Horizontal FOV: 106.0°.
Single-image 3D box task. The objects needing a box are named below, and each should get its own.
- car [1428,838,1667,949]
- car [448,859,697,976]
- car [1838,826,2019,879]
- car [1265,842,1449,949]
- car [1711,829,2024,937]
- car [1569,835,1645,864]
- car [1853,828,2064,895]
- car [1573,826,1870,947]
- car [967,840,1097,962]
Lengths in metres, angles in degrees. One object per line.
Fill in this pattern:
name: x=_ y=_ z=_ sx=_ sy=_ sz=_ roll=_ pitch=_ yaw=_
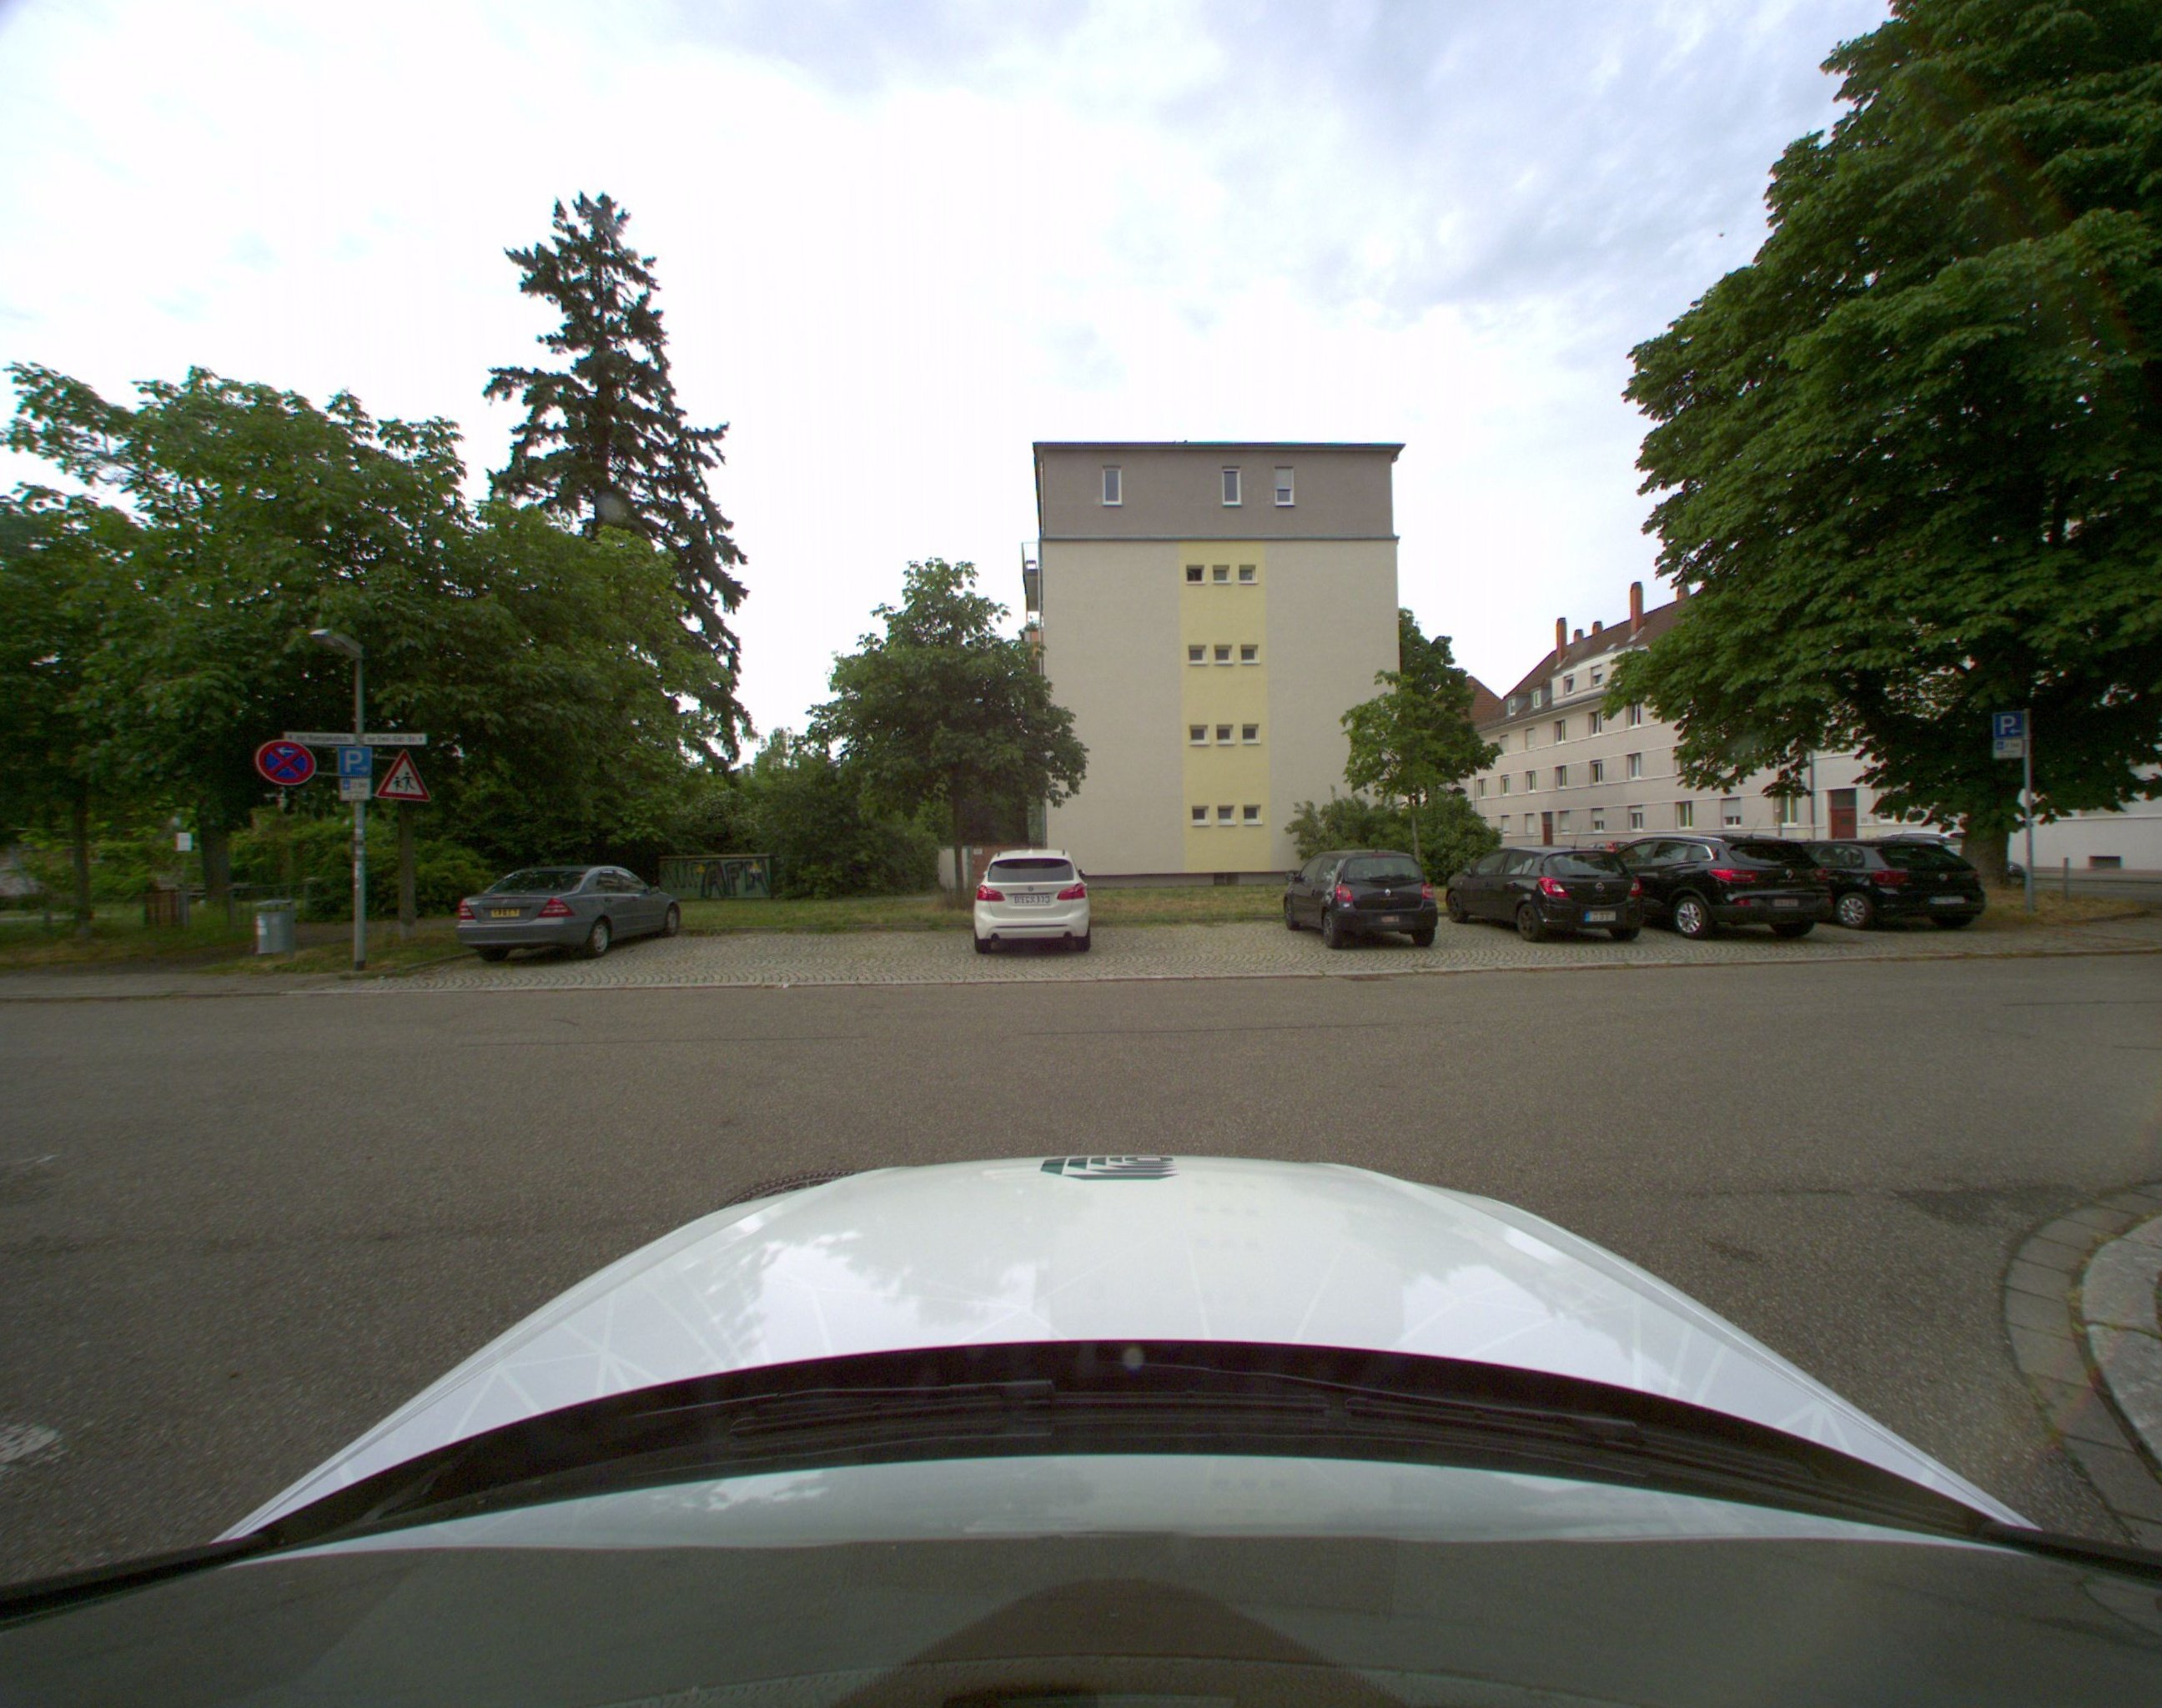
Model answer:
car: x=7.789 y=0.542 z=14.154 sx=1.828 sy=1.565 sz=4.361 roll=-1 pitch=2 yaw=3
car: x=-8.223 y=0.906 z=13.755 sx=1.672 sy=1.454 sz=4.552 roll=-1 pitch=2 yaw=-6
car: x=29.900 y=-0.080 z=28.956 sx=1.838 sy=1.673 sz=4.285 roll=-2 pitch=1 yaw=-3
car: x=4.548 y=0.582 z=14.175 sx=1.828 sy=1.463 sz=4.564 roll=-1 pitch=2 yaw=3
car: x=13.381 y=0.421 z=14.238 sx=1.818 sy=1.577 sz=3.844 roll=-2 pitch=1 yaw=1
car: x=29.189 y=-0.269 z=45.304 sx=1.691 sy=1.525 sz=3.825 roll=-2 pitch=1 yaw=-1
car: x=21.923 y=0.151 z=20.559 sx=1.519 sy=1.493 sz=3.593 roll=1 pitch=1 yaw=2
car: x=10.321 y=0.399 z=13.603 sx=1.902 sy=1.697 sz=4.072 roll=-1 pitch=2 yaw=3
car: x=-0.747 y=0.656 z=13.922 sx=1.873 sy=1.560 sz=4.148 roll=0 pitch=4 yaw=-1
